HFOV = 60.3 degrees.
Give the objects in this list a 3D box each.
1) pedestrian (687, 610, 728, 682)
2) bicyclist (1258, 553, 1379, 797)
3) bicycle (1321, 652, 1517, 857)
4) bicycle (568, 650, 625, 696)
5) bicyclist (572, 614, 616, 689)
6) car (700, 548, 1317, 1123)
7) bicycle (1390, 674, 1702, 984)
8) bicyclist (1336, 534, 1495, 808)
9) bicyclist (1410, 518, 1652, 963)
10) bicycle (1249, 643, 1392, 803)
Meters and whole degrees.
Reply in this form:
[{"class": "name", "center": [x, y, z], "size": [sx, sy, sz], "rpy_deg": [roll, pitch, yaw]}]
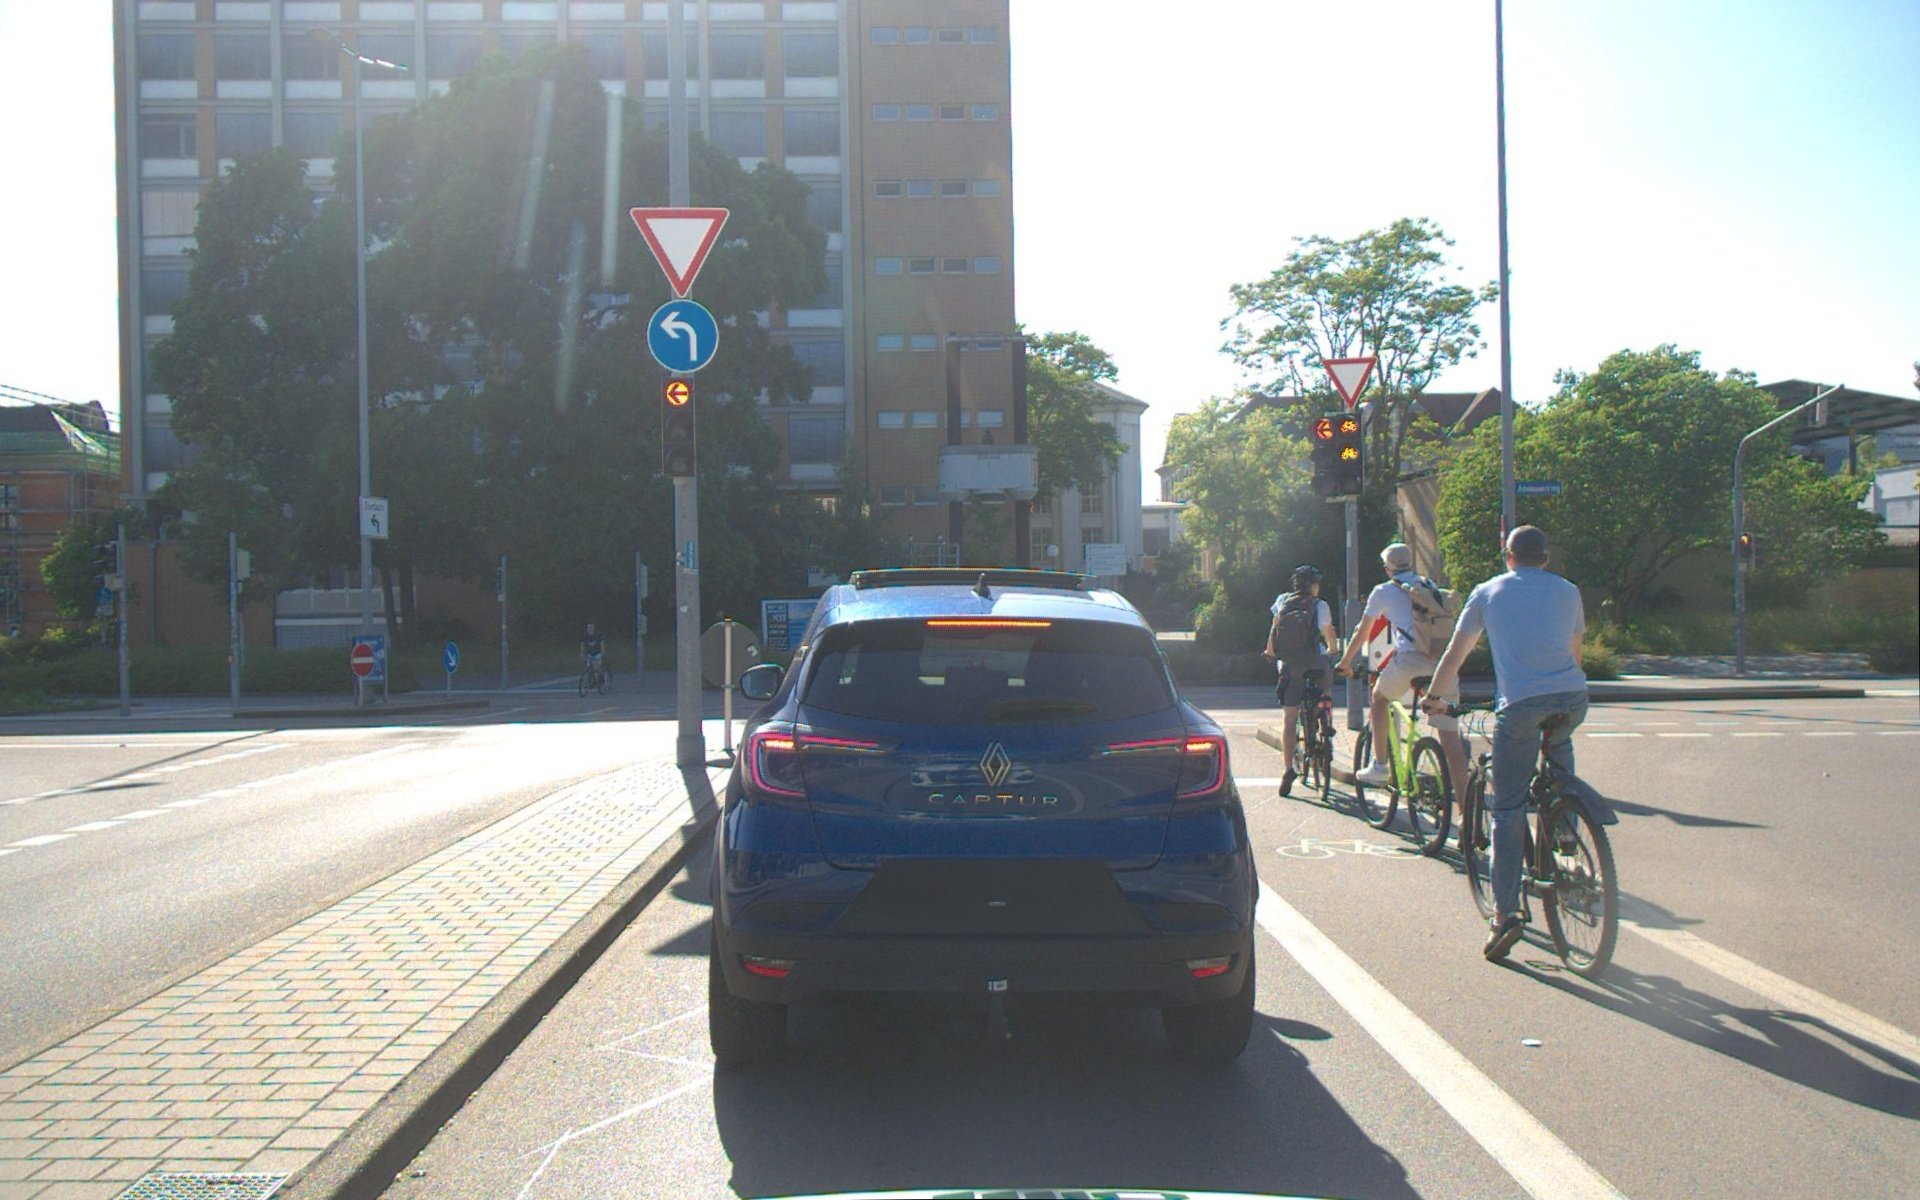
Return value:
[{"class": "pedestrian", "center": [-6.848, 1.242, 44.888], "size": [0.796, 1.895, 0.910], "rpy_deg": [-1, 0, 13]}, {"class": "bicyclist", "center": [2.784, 0.560, 12.942], "size": [0.685, 1.822, 1.142], "rpy_deg": [0, 0, -1]}, {"class": "bicycle", "center": [2.824, 0.912, 10.388], "size": [0.675, 1.108, 1.922], "rpy_deg": [0, 0, -1]}, {"class": "bicycle", "center": [-8.740, 1.739, 39.848], "size": [0.739, 1.002, 2.095], "rpy_deg": [-1, 0, 5]}, {"class": "bicyclist", "center": [-8.765, 1.219, 39.595], "size": [0.739, 1.746, 0.999], "rpy_deg": [-1, 0, 5]}, {"class": "car", "center": [0.059, 0.664, 6.646], "size": [1.753, 1.613, 3.912], "rpy_deg": [0, 0, -3]}, {"class": "bicycle", "center": [2.507, 0.922, 7.327], "size": [0.675, 1.108, 1.922], "rpy_deg": [0, 0, -1]}, {"class": "bicyclist", "center": [2.827, 0.421, 10.365], "size": [0.664, 1.622, 1.142], "rpy_deg": [0, 0, -1]}, {"class": "bicyclist", "center": [2.500, 0.575, 7.357], "size": [0.669, 1.822, 1.142], "rpy_deg": [0, 0, -1]}, {"class": "bicycle", "center": [2.778, 0.914, 12.949], "size": [0.675, 1.108, 1.922], "rpy_deg": [0, 0, -1]}]
